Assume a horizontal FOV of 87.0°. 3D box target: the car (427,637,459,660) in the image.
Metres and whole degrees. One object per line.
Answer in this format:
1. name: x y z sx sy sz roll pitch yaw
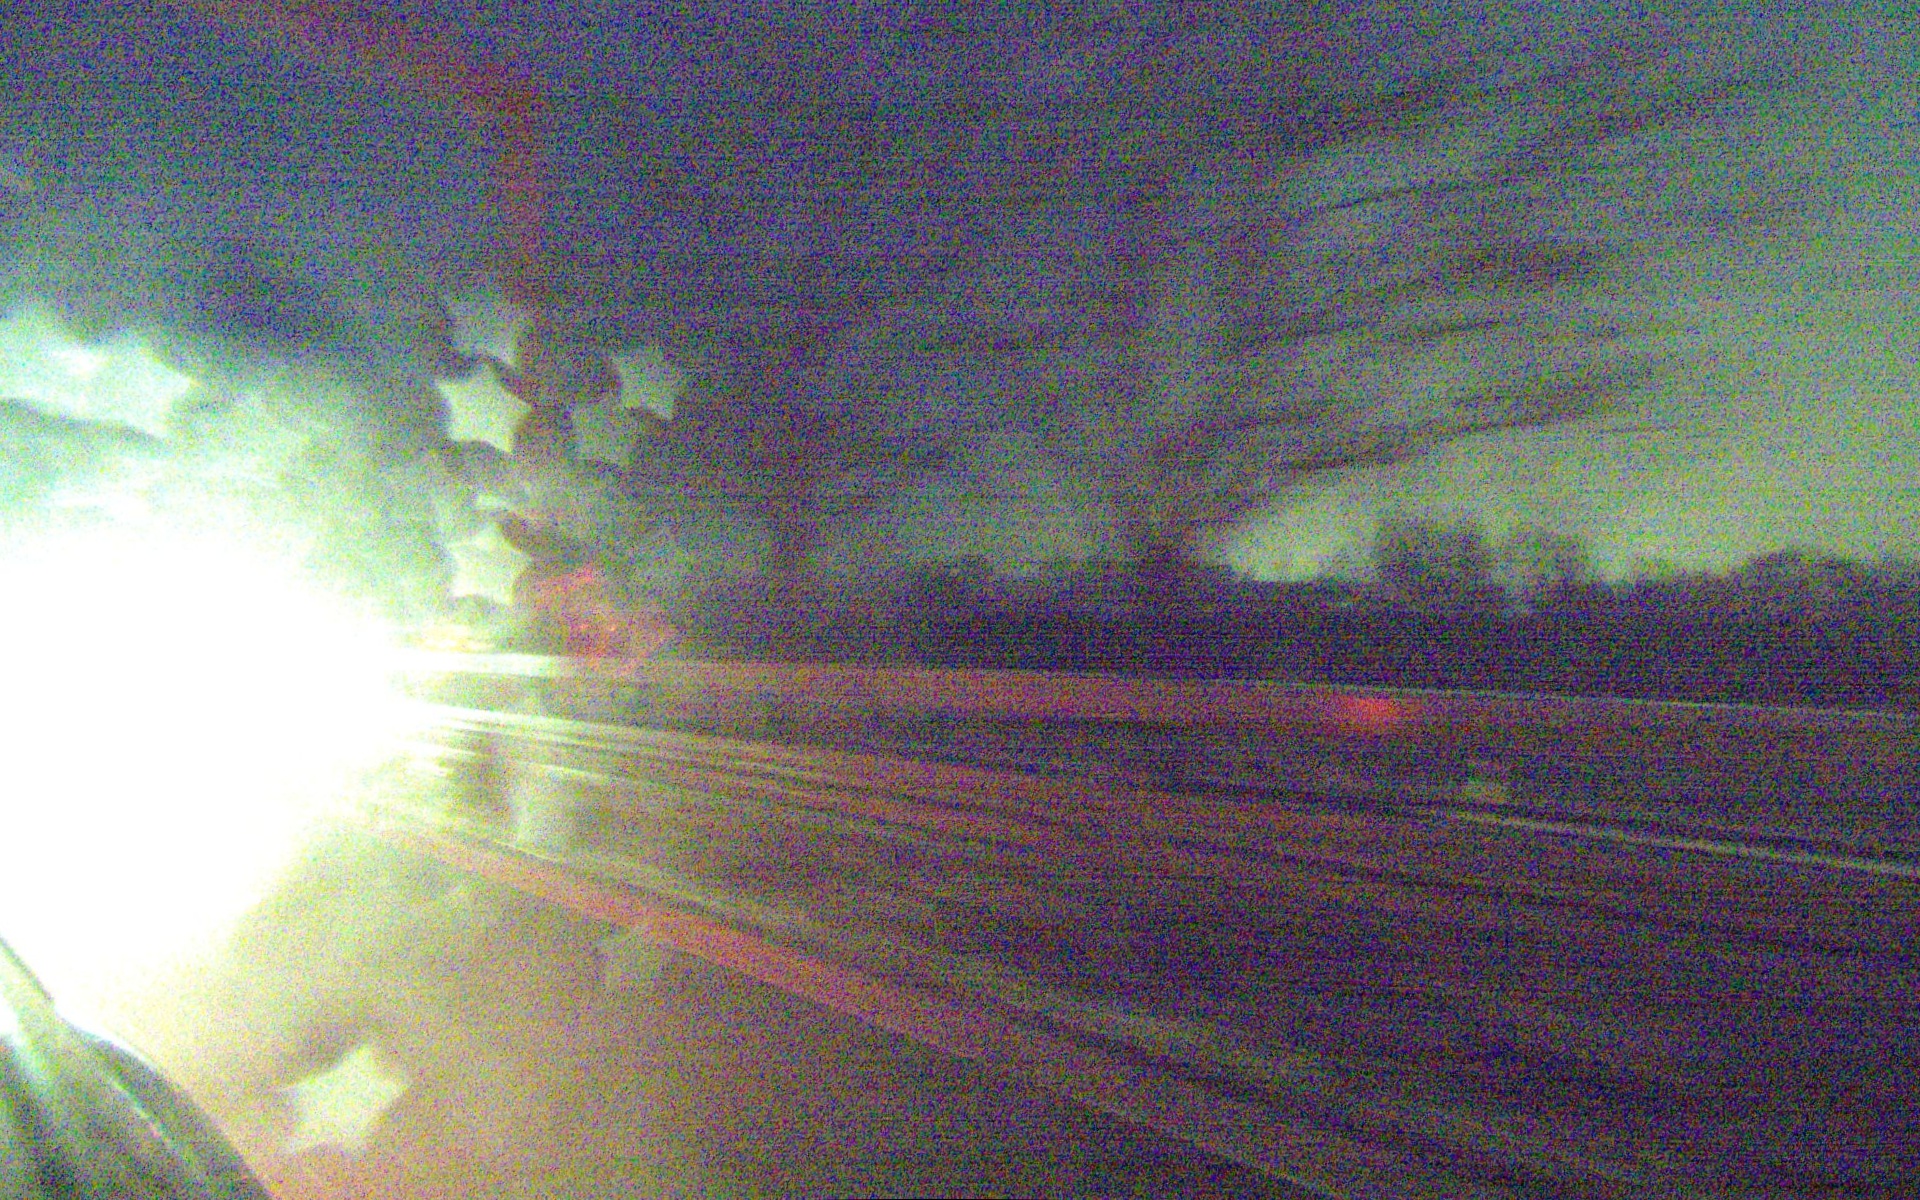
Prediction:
1. car: -35.202 3.293 68.951 1.702 1.409 3.941 3 -2 -24
